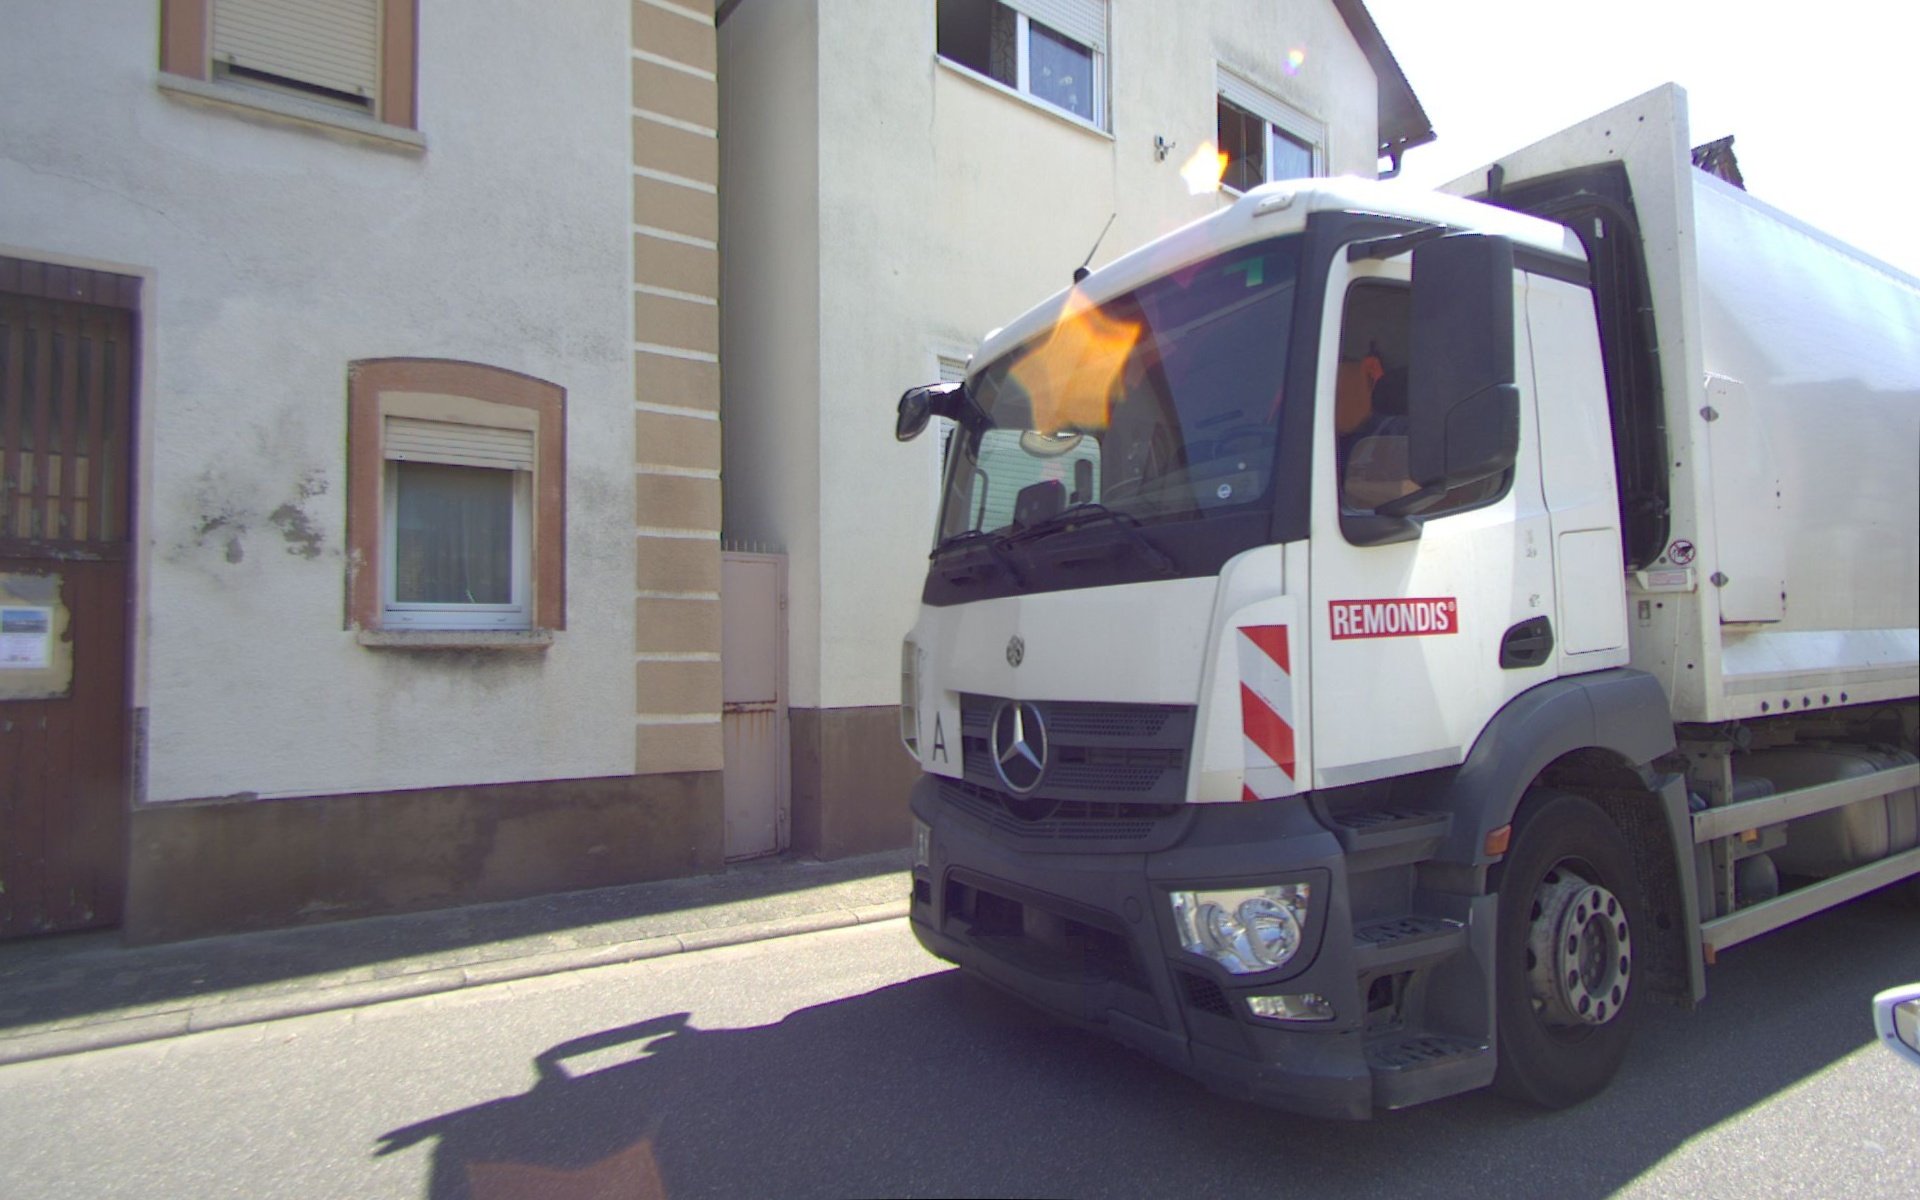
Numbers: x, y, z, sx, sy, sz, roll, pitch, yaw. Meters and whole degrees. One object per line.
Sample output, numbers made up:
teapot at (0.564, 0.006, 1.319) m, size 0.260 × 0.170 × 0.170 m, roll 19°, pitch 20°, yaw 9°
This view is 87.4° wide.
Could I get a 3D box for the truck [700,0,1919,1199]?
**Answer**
truck at (4.134, -0.176, 6.018) m, size 10.748 × 3.798 × 2.682 m, roll 1°, pitch -5°, yaw -32°
